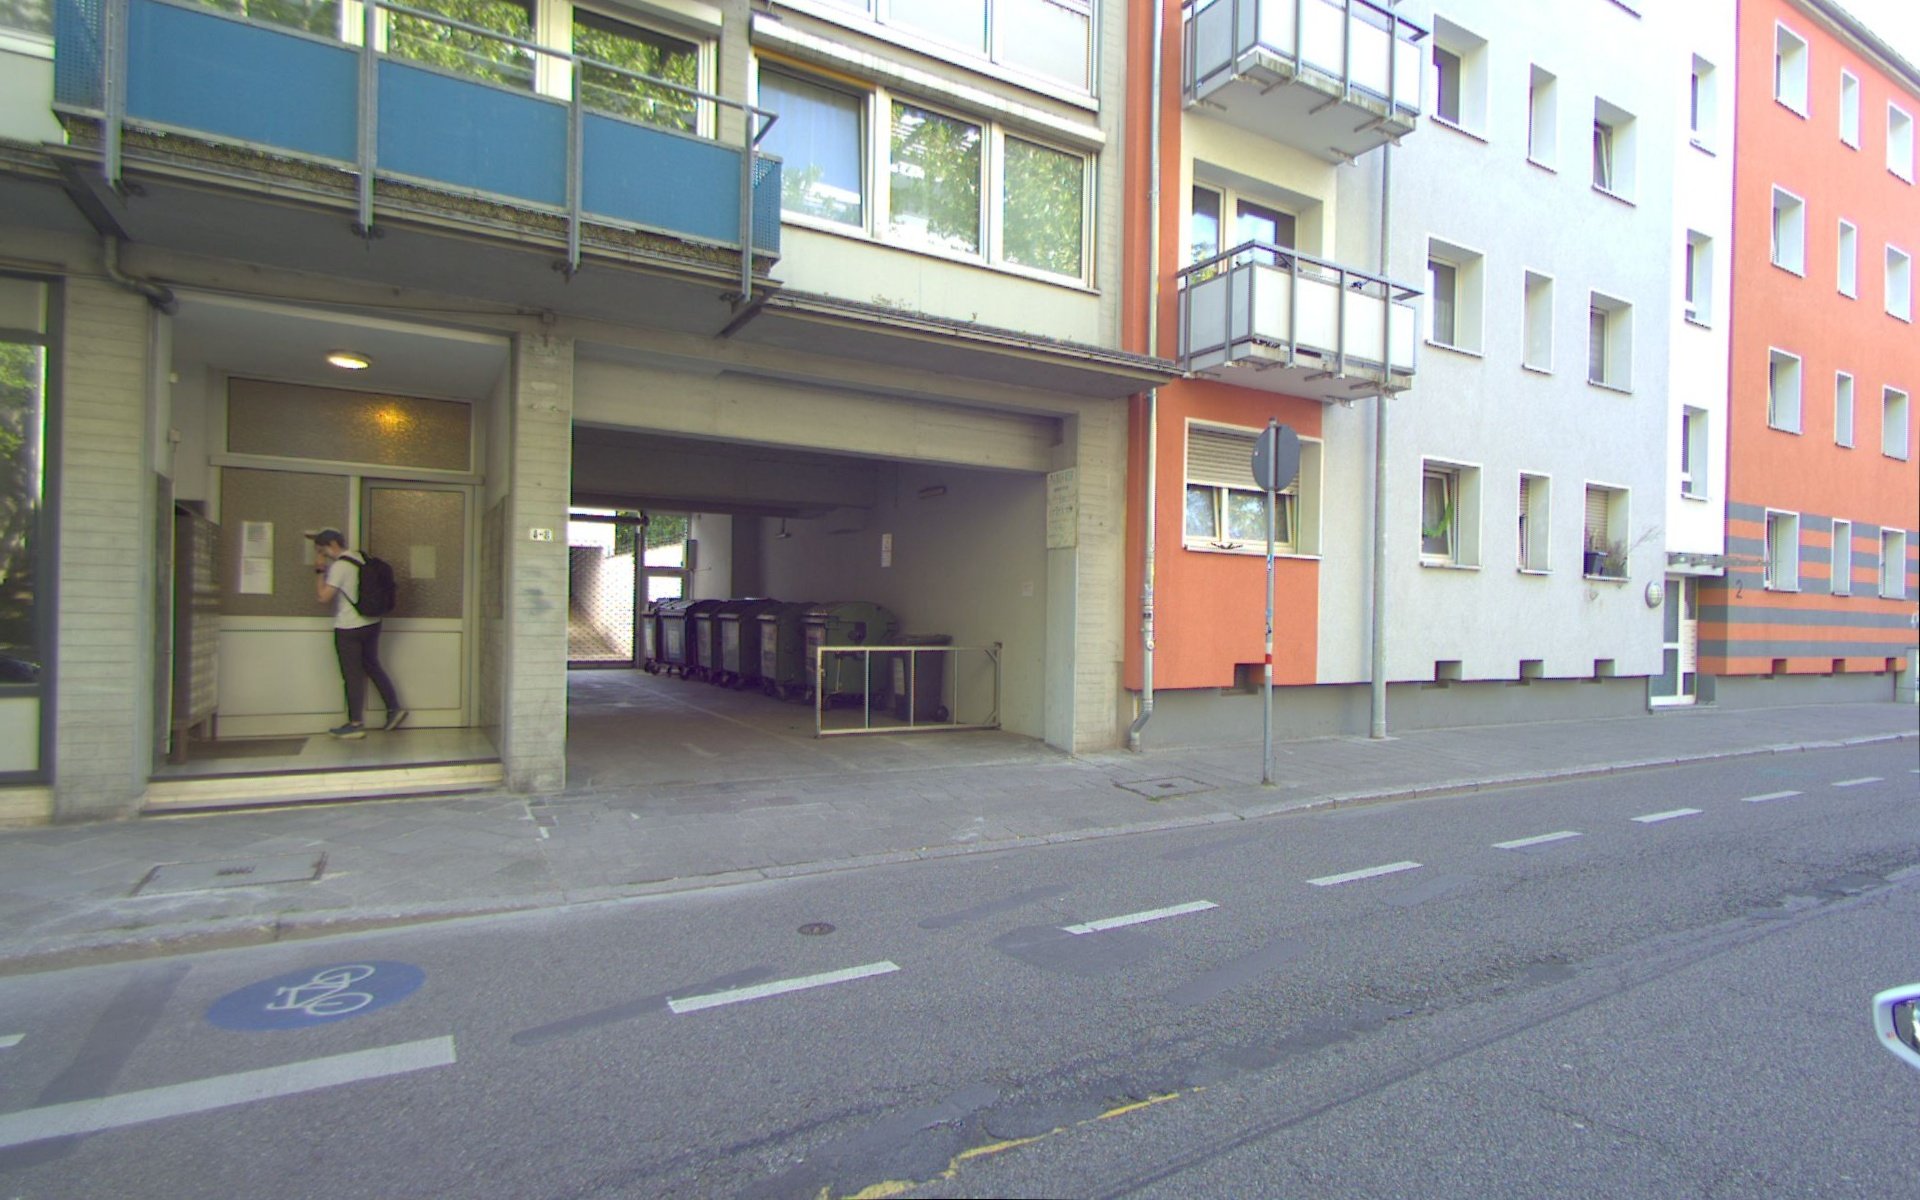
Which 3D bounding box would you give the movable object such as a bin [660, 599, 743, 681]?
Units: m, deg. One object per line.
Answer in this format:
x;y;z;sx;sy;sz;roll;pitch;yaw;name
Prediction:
-4.832;0.730;18.755;1.186;1.467;1.222;2;0;-30;movable object such as a bin

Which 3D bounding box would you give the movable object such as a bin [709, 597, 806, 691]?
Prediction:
-3.362;0.707;16.622;1.186;1.467;1.319;2;0;-30;movable object such as a bin

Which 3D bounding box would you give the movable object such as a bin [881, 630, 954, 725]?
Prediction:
-0.527;0.947;12.412;0.745;1.116;0.463;2;0;-30;movable object such as a bin

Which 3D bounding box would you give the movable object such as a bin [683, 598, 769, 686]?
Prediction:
-4.133;0.728;17.713;1.186;1.467;1.114;2;0;-30;movable object such as a bin

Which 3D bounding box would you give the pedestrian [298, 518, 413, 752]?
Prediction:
-5.159;0.293;8.604;0.777;1.904;0.577;2;0;-30;pedestrian

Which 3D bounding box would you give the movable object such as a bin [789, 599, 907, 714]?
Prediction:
-1.555;0.748;13.804;1.159;1.467;1.319;2;0;-30;movable object such as a bin

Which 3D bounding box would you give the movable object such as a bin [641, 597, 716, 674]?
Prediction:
-5.608;0.695;19.984;1.186;1.467;1.027;2;0;-30;movable object such as a bin

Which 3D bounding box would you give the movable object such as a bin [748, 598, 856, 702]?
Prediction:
-2.395;0.729;15.138;1.186;1.467;1.319;2;0;-30;movable object such as a bin
